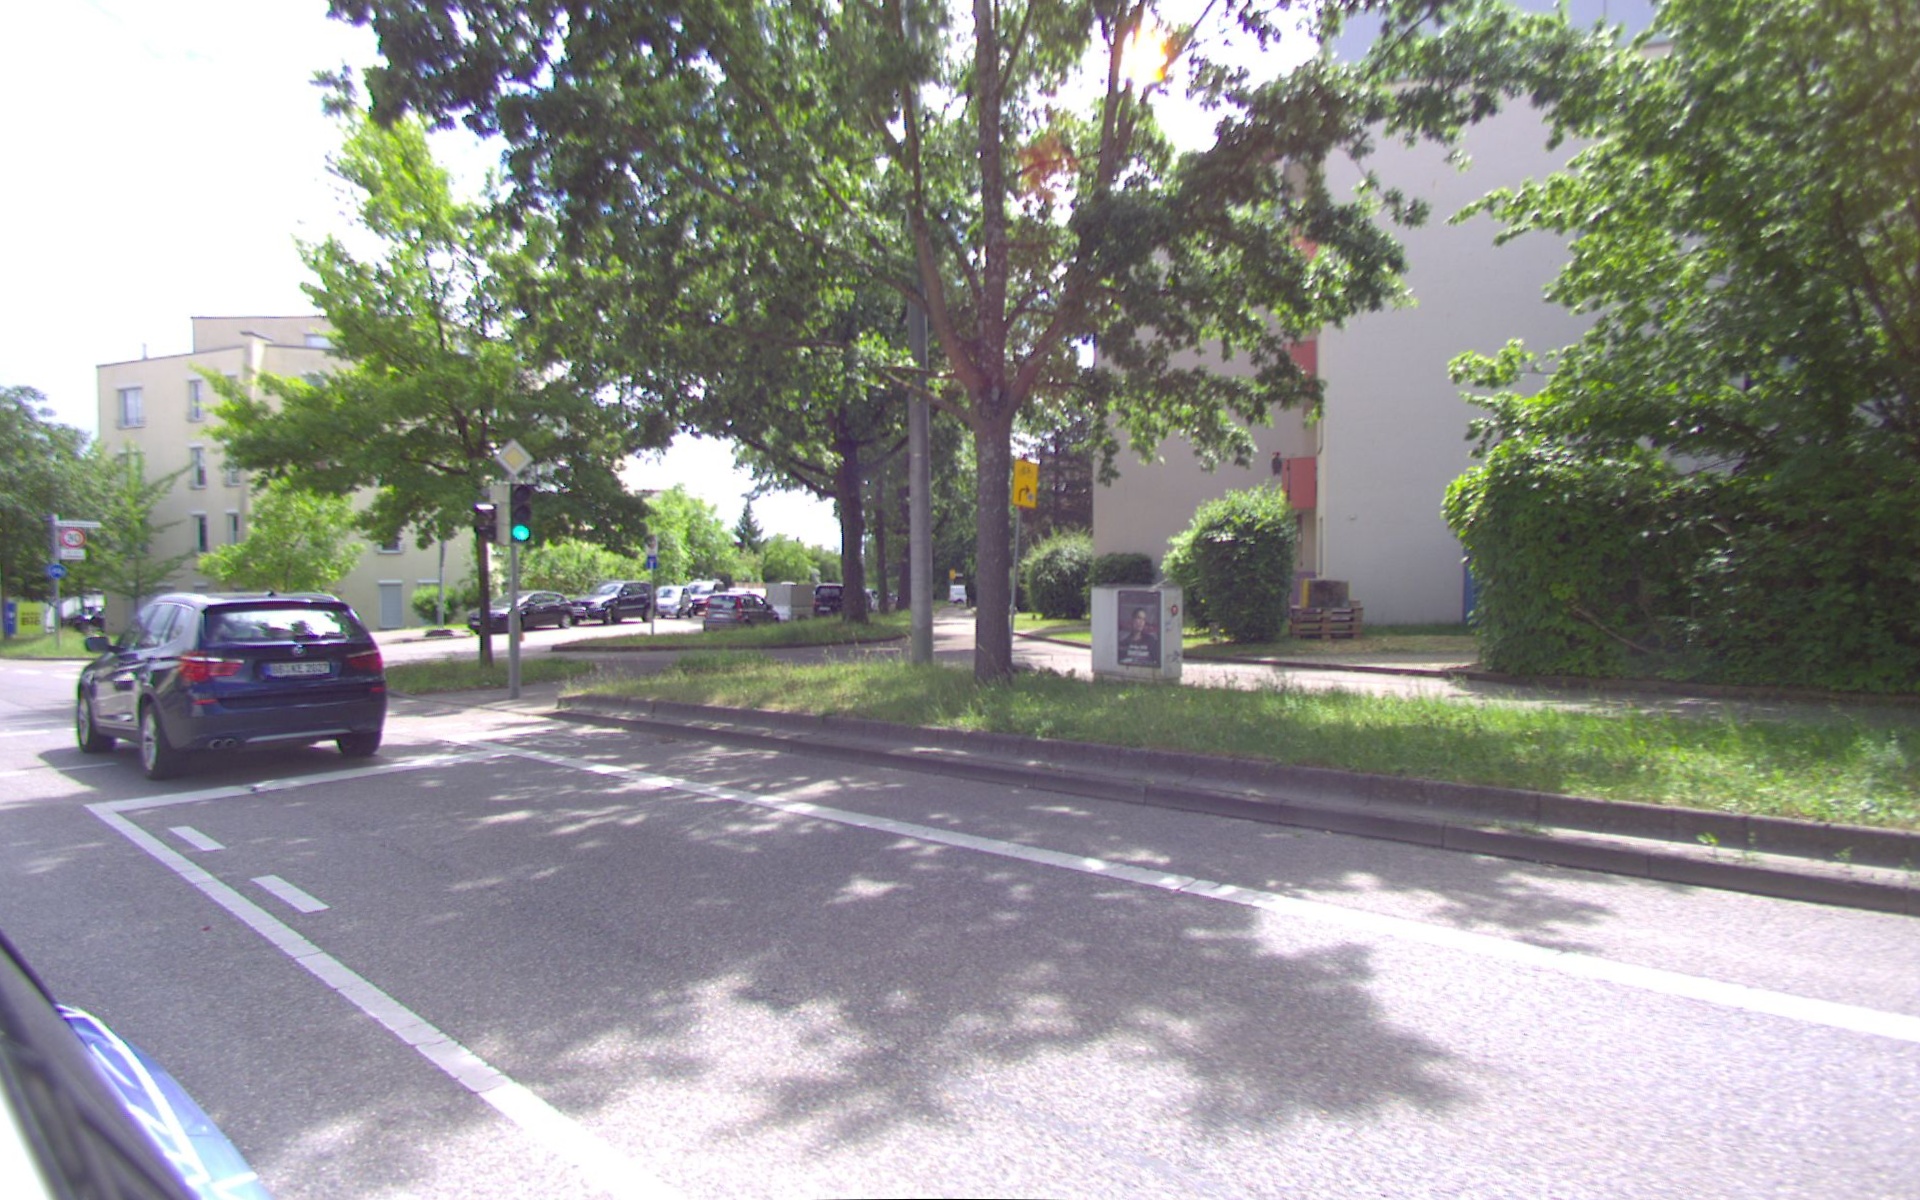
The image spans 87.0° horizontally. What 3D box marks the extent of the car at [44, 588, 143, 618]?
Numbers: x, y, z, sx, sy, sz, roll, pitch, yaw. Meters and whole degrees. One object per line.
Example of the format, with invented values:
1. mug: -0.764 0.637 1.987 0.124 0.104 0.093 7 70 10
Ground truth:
1. car: -44.830 0.181 52.483 1.768 1.431 4.000 -2 -1 -1

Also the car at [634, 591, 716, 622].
1. car: -13.609 0.267 48.508 1.957 1.342 3.978 -1 1 17

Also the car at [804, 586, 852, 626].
1. car: -6.475 0.259 50.075 2.094 1.807 4.422 -1 1 -4

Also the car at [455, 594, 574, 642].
1. car: -16.180 0.628 36.990 1.722 1.408 4.132 -1 3 16

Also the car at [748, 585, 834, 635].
1. car: -6.590 0.428 39.783 1.829 1.858 3.979 -1 -1 16

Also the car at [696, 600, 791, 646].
1. car: -7.530 0.750 35.551 1.680 1.463 3.982 0 1 14

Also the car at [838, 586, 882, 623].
1. car: -5.434 0.228 55.484 1.634 1.747 3.995 -2 3 5

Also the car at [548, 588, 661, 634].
1. car: -14.667 0.386 42.099 2.083 1.615 4.768 1 3 16
